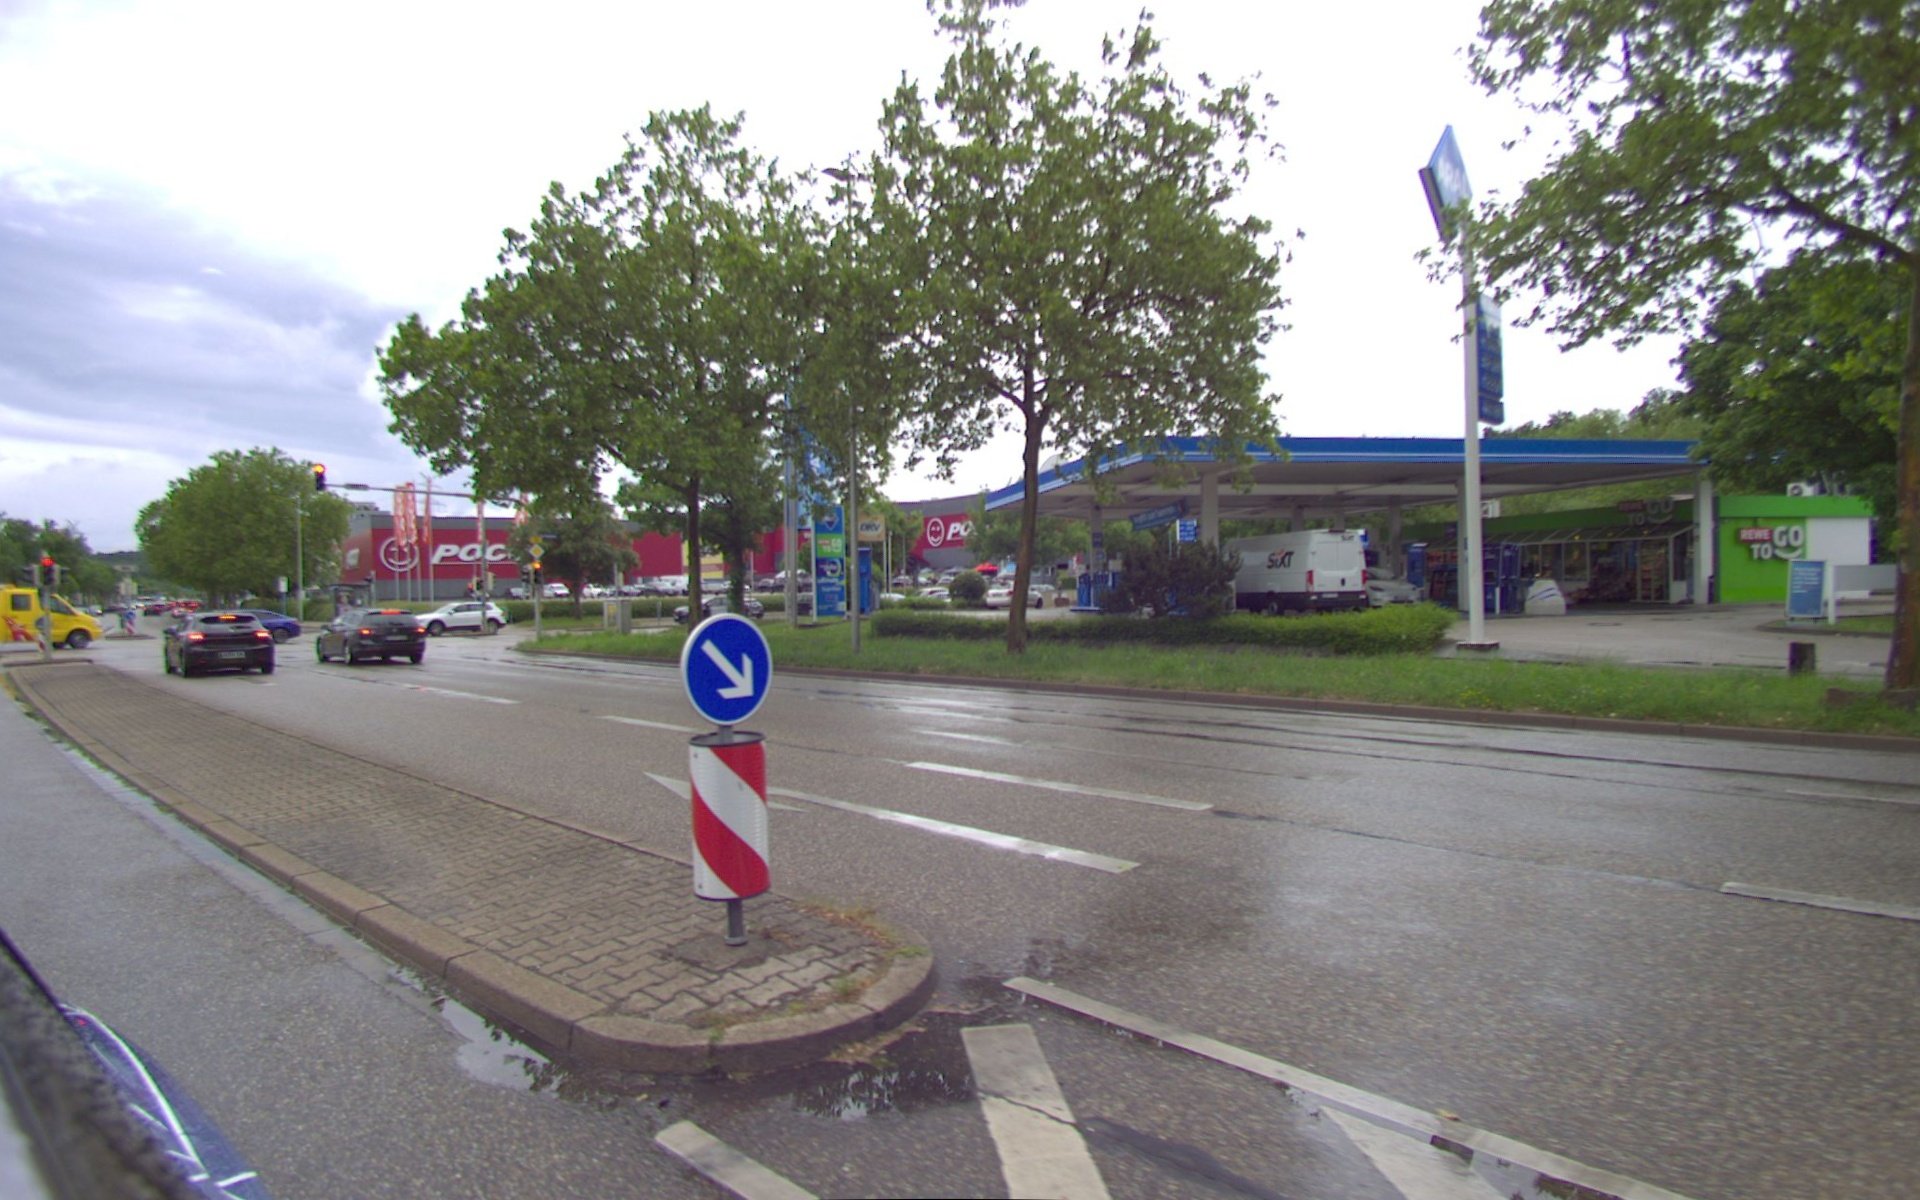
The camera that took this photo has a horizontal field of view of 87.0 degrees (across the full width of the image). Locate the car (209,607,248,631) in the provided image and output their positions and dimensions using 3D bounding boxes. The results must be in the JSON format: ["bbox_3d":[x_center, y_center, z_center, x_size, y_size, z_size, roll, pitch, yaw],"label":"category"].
[{"bbox_3d":[-46.832,1.212,64.767,1.760,1.415,4.007,0,-1,-40],"label":"car"}]

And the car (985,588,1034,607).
[{"bbox_3d":[4.246,-0.208,86.986,1.659,1.621,4.291,0,-1,-42],"label":"car"}]

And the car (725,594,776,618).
[{"bbox_3d":[-14.461,0.407,69.773,3.662,1.565,1.660,-1,-1,45],"label":"car"}]

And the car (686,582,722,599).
[{"bbox_3d":[-22.910,-0.816,90.546,1.646,1.391,3.917,-1,-1,-38],"label":"car"}]

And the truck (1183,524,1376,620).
[{"bbox_3d":[10.022,-0.735,32.821,2.119,2.695,7.894,-1,-1,-14],"label":"truck"}]

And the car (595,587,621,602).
[{"bbox_3d":[-41.831,-0.672,120.255,1.670,1.658,3.971,0,-1,-38],"label":"car"}]

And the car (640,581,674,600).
[{"bbox_3d":[-27.419,-0.859,91.428,1.646,1.658,3.835,0,-1,-38],"label":"car"}]

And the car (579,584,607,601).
[{"bbox_3d":[-38.064,-0.772,104.912,1.646,1.658,3.971,0,-1,-38],"label":"car"}]

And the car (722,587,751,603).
[{"bbox_3d":[-24.928,-0.547,112.752,1.646,1.658,3.971,0,-1,-38],"label":"car"}]

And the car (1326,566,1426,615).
[{"bbox_3d":[14.501,-0.361,35.487,1.663,1.594,3.569,-1,1,-8],"label":"car"}]

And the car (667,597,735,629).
[{"bbox_3d":[-15.157,0.735,59.345,3.485,1.709,1.604,-2,1,-41],"label":"car"}]

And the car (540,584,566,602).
[{"bbox_3d":[-47.134,-0.778,117.285,1.763,1.940,3.757,0,-1,-39],"label":"car"}]

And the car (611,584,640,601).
[{"bbox_3d":[-35.092,-0.796,106.010,1.646,1.658,3.971,0,-1,-38],"label":"car"}]

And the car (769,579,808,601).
[{"bbox_3d":[-19.169,-1.058,112.835,1.797,2.321,5.659,0,-1,-38],"label":"car"}]

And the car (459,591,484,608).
[{"bbox_3d":[-51.623,-0.065,106.914,1.670,1.658,3.971,0,-1,-38],"label":"car"}]

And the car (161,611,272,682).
[{"bbox_3d":[-17.440,1.036,23.672,1.623,1.520,3.897,0,-1,-44],"label":"car"}]

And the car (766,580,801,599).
[{"bbox_3d":[-16.346,-0.949,93.564,1.646,1.658,3.835,0,-1,-38],"label":"car"}]

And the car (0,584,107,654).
[{"bbox_3d":[-36.132,0.761,38.595,2.238,2.492,4.964,-2,1,30],"label":"car"}]

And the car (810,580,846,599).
[{"bbox_3d":[-12.558,-0.979,96.179,1.646,1.658,3.835,0,-1,-38],"label":"car"}]

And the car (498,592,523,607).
[{"bbox_3d":[-50.602,-0.073,113.844,1.670,1.658,3.971,0,-1,-38],"label":"car"}]

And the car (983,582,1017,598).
[{"bbox_3d":[4.342,-1.116,109.992,1.646,1.658,3.835,0,-1,-38],"label":"car"}]

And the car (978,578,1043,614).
[{"bbox_3d":[2.701,-0.214,53.064,1.809,1.811,3.658,-1,0,33],"label":"car"}]

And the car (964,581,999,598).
[{"bbox_3d":[2.305,-1.100,108.172,1.646,1.658,3.835,0,-1,-38],"label":"car"}]

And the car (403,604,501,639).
[{"bbox_3d":[-25.206,1.037,50.279,1.902,1.564,3.942,1,1,44],"label":"car"}]

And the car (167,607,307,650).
[{"bbox_3d":[-29.694,1.123,41.650,4.484,1.645,1.803,0,-1,-44],"label":"car"}]

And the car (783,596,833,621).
[{"bbox_3d":[-10.918,0.622,72.601,3.662,1.737,1.660,-1,-1,45],"label":"car"}]

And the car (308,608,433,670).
[{"bbox_3d":[-16.175,1.017,27.660,1.970,1.520,4.735,0,-1,-43],"label":"car"}]

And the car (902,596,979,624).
[{"bbox_3d":[-1.200,0.600,60.236,4.589,1.601,1.902,-1,-1,44],"label":"car"}]

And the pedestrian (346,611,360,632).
[{"bbox_3d":[-42.828,1.499,71.422,0.769,1.442,0.642,1,-2,-42],"label":"pedestrian"}]

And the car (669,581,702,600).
[{"bbox_3d":[-25.442,-0.874,93.621,1.606,1.658,3.835,0,-1,-38],"label":"car"}]
